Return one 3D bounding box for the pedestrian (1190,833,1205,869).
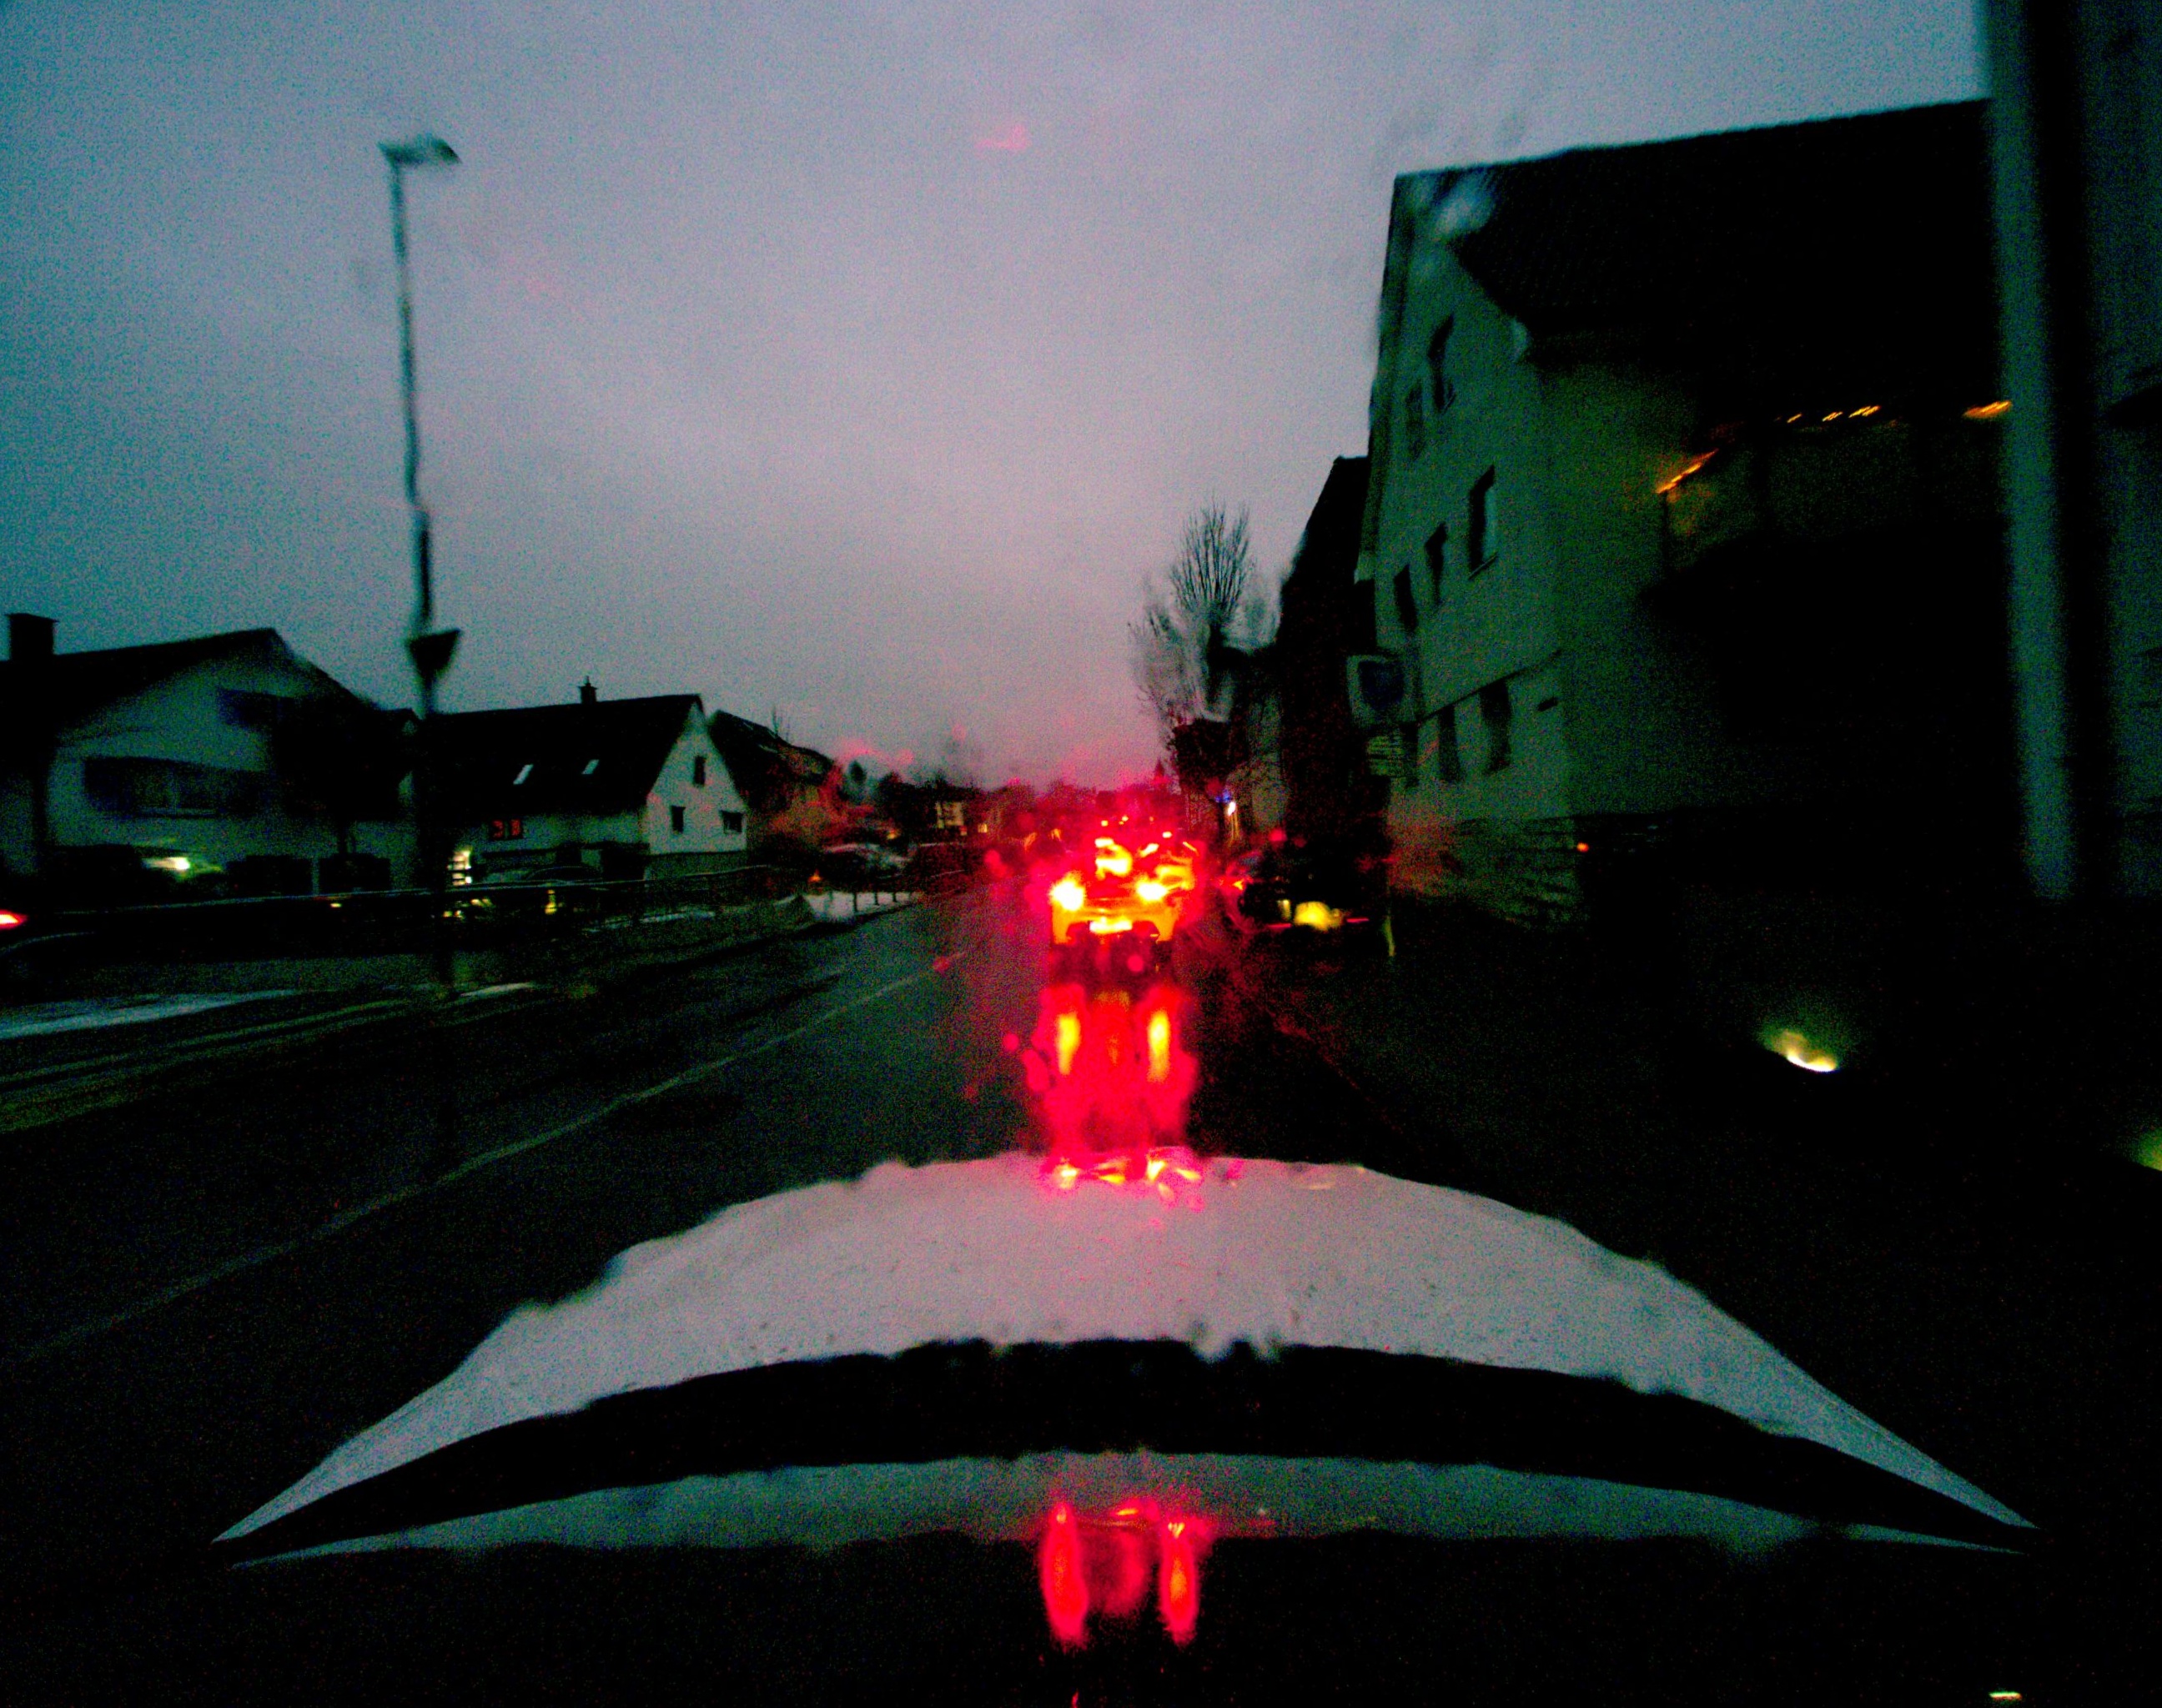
[{"bbox_3d":[5.782,-0.156,40.444,0.570,1.699,0.653,-4,0,3],"label":"pedestrian"}]

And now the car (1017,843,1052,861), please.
[{"bbox_3d":[-5.913,-0.218,103.630,2.011,2.166,4.332,0,-2,-44],"label":"car"}]

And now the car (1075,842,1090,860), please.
[{"bbox_3d":[0.210,-0.396,104.860,1.913,2.216,3.975,-1,-1,0],"label":"car"}]

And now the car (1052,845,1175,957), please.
[{"bbox_3d":[0.485,0.599,12.074,1.557,1.412,3.020,-1,1,2],"label":"car"}]

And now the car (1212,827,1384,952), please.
[{"bbox_3d":[3.135,0.410,12.597,1.720,1.464,4.204,-5,1,4],"label":"car"}]

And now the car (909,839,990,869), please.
[{"bbox_3d":[-7.993,0.010,49.803,4.611,1.667,2.000,-2,0,-1],"label":"car"}]

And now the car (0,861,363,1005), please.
[{"bbox_3d":[-14.555,1.116,12.908,1.745,1.700,4.576,-5,1,8],"label":"car"}]

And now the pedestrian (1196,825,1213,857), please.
[{"bbox_3d":[6.836,-0.741,45.014,0.707,1.715,1.039,-3,1,16],"label":"pedestrian"}]

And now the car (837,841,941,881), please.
[{"bbox_3d":[-8.427,0.316,35.890,4.073,1.608,1.590,-2,0,5],"label":"car"}]

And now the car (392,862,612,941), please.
[{"bbox_3d":[-13.937,1.062,20.027,1.794,1.482,4.578,-5,0,5],"label":"car"}]

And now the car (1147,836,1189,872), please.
[{"bbox_3d":[4.434,-0.035,41.913,1.729,1.692,4.388,-3,1,2],"label":"car"}]

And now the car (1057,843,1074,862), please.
[{"bbox_3d":[-1.849,-0.157,96.885,1.913,2.027,3.975,-1,-1,0],"label":"car"}]

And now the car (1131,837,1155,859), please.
[{"bbox_3d":[5.591,-0.534,73.779,1.989,1.865,4.086,-2,0,3],"label":"car"}]

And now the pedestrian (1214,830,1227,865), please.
[{"bbox_3d":[6.689,-0.291,39.093,0.525,1.653,0.957,-1,-2,12],"label":"pedestrian"}]

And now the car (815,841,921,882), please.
[{"bbox_3d":[-8.727,0.300,33.530,3.771,1.523,1.719,-2,0,8],"label":"car"}]

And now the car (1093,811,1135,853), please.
[{"bbox_3d":[2.598,-1.672,66.013,3.179,3.031,6.306,-1,-1,1],"label":"car"}]

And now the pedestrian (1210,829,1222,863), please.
[{"bbox_3d":[7.136,-0.432,43.091,0.525,1.800,0.867,-1,1,12],"label":"pedestrian"}]

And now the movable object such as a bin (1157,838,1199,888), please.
[{"bbox_3d":[3.013,0.260,25.573,1.124,1.420,1.419,-6,1,4],"label":"movable object such as a bin"}]

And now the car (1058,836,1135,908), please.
[{"bbox_3d":[0.438,0.389,20.736,1.759,1.628,3.588,-1,1,2],"label":"car"}]

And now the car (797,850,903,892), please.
[{"bbox_3d":[-8.649,0.614,30.647,3.432,1.372,1.601,-3,1,1],"label":"car"}]
